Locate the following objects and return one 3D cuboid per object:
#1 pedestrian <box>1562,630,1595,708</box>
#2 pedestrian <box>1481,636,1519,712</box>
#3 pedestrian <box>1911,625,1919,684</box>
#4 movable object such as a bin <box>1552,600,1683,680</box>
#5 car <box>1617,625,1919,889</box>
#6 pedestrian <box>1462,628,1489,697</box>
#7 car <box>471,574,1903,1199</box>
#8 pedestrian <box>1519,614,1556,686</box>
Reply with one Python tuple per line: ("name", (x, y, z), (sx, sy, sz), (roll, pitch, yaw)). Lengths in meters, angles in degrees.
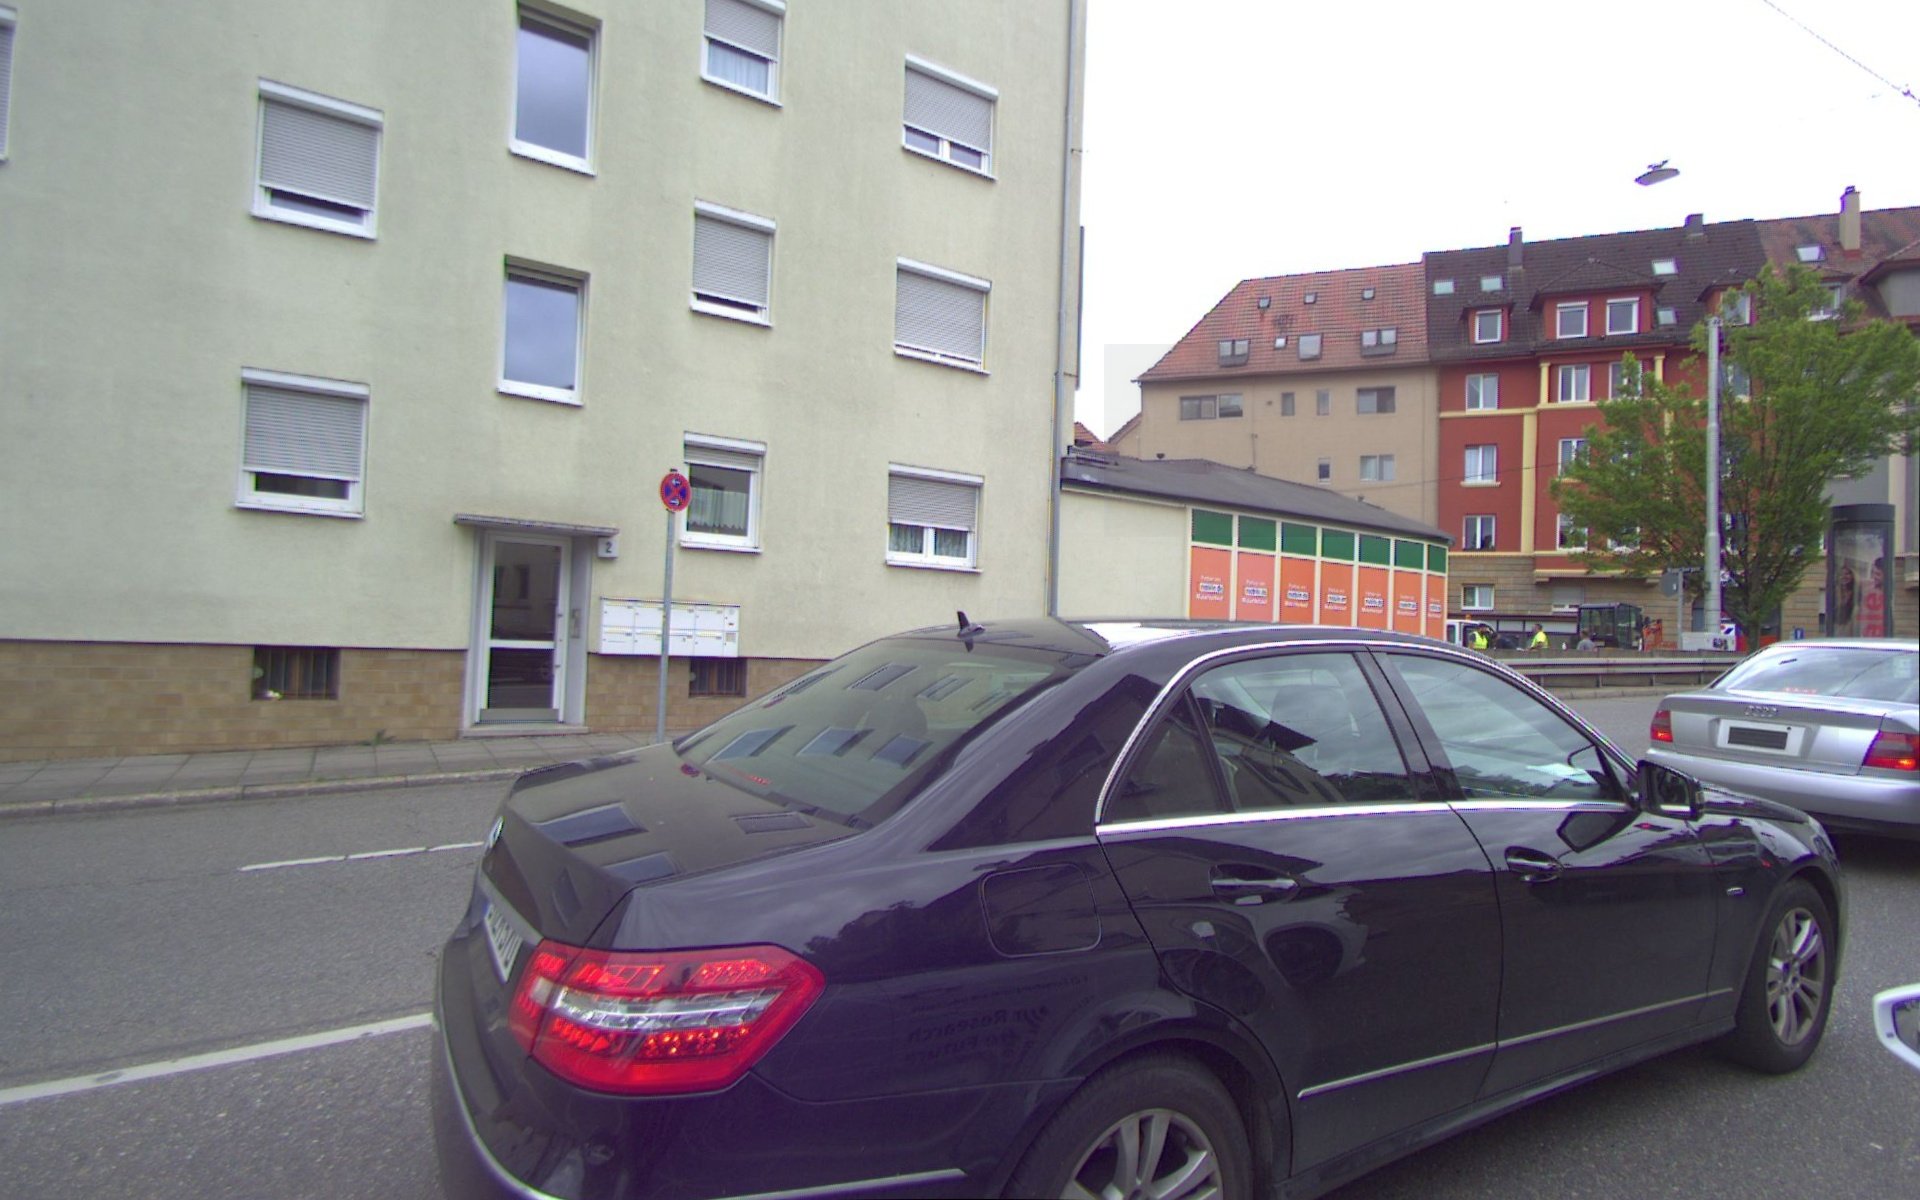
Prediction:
("pedestrian", (14.380, 1.597, 23.356), (0.533, 1.753, 0.593), (3, 1, 26))
("pedestrian", (12.681, 1.717, 23.594), (0.539, 1.722, 0.557), (1, 1, -41))
("pedestrian", (26.108, 1.481, 27.031), (0.480, 1.588, 0.586), (2, 1, -30))
("movable object such as a bin", (16.764, 0.977, 25.541), (3.972, 1.795, 1.884), (2, 1, -43))
("car", (6.755, 0.898, 7.109), (4.123, 1.391, 1.690), (0, 0, -27))
("pedestrian", (13.553, 1.639, 26.409), (0.467, 1.753, 0.543), (2, 1, 14))
("car", (0.968, 0.762, 3.162), (4.393, 1.473, 1.739), (2, -1, -30))
("pedestrian", (14.581, 1.253, 25.359), (0.612, 1.785, 0.566), (1, 1, -38))
